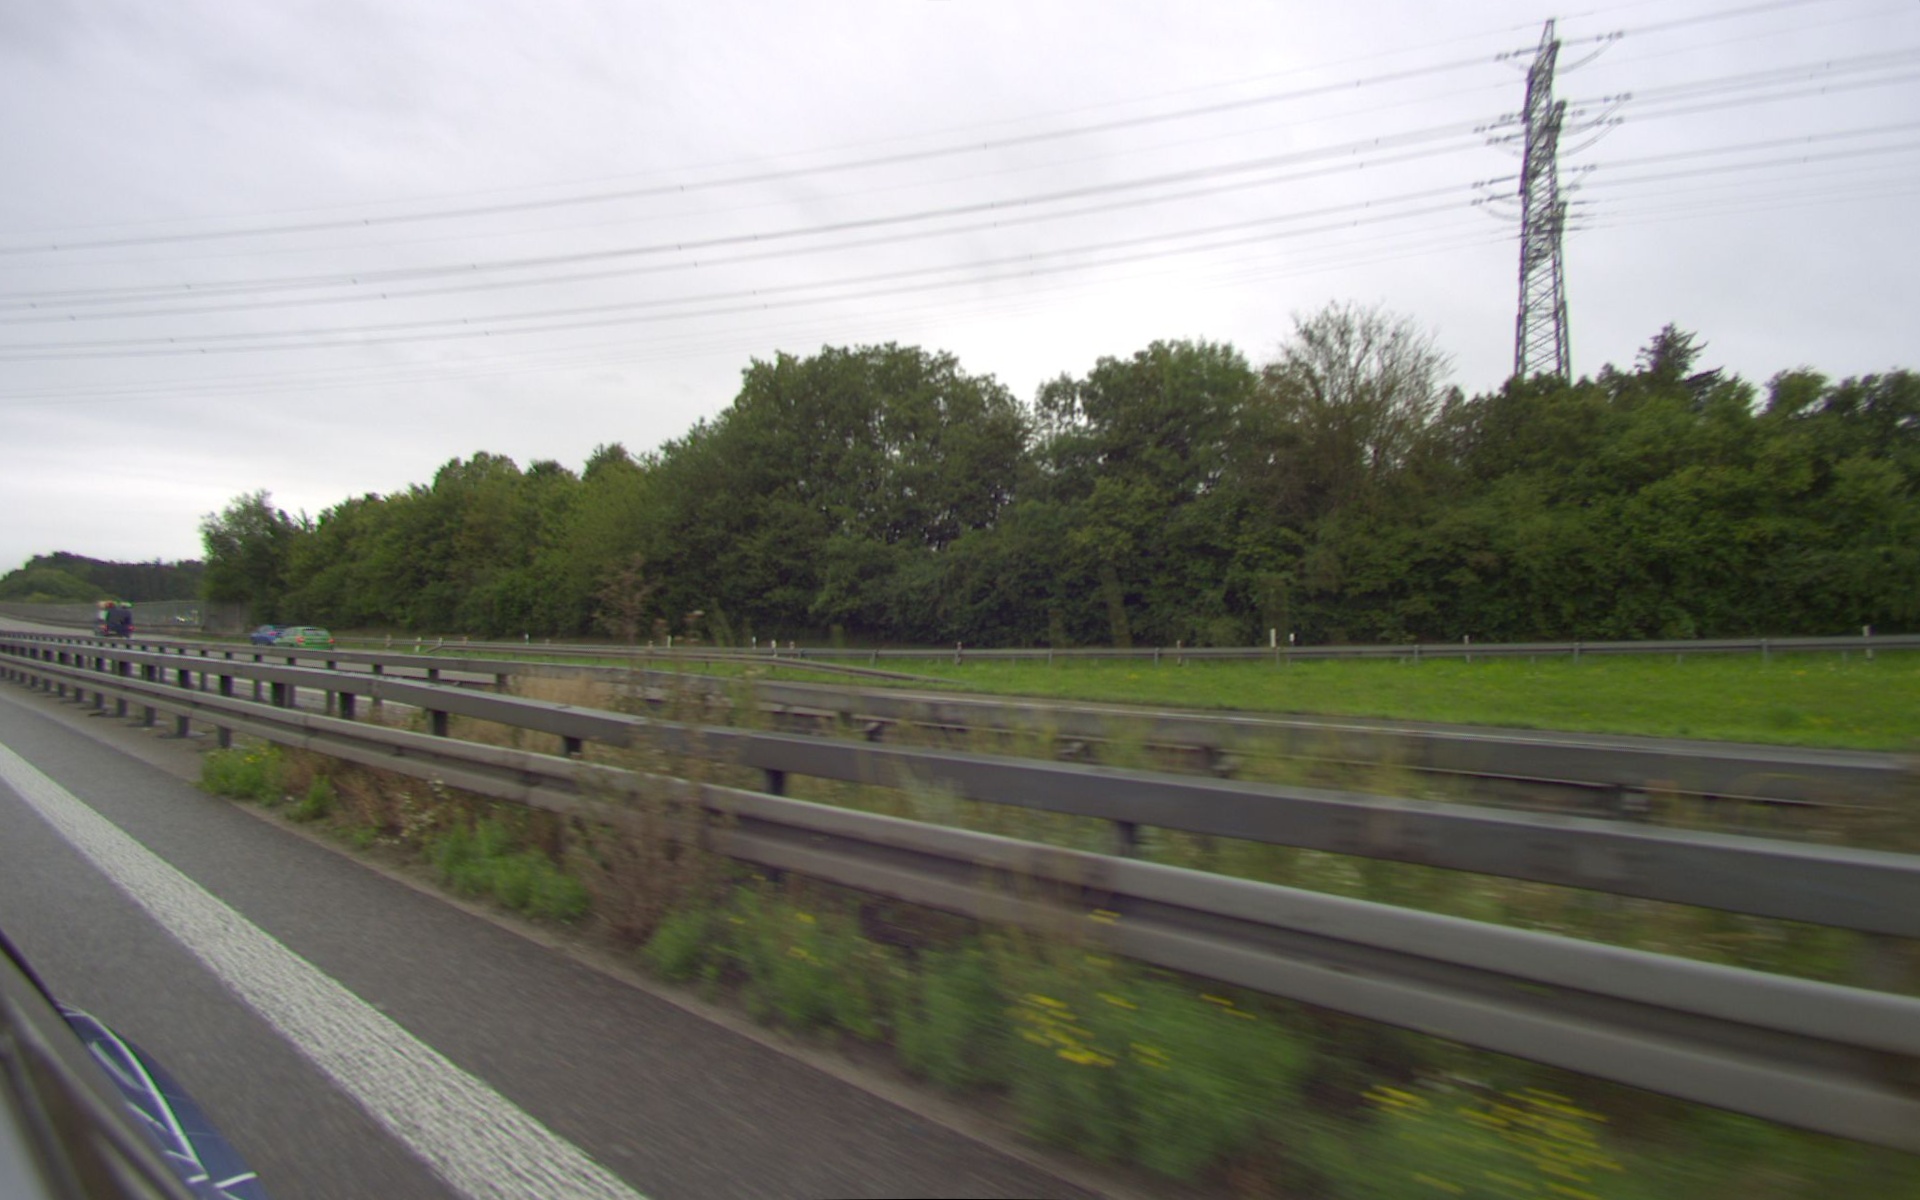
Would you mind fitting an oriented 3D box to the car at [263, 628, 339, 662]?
[{"bbox_3d":[-31.755,2.150,48.717,4.512,1.505,1.855,-1,-3,41],"label":"car"}]

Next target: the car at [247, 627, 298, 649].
[{"bbox_3d":[-52.260,2.871,76.903,3.991,1.555,1.951,-1,-2,35],"label":"car"}]

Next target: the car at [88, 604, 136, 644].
[{"bbox_3d":[-74.714,2.104,89.143,6.173,3.353,2.230,-1,-3,42],"label":"car"}]
